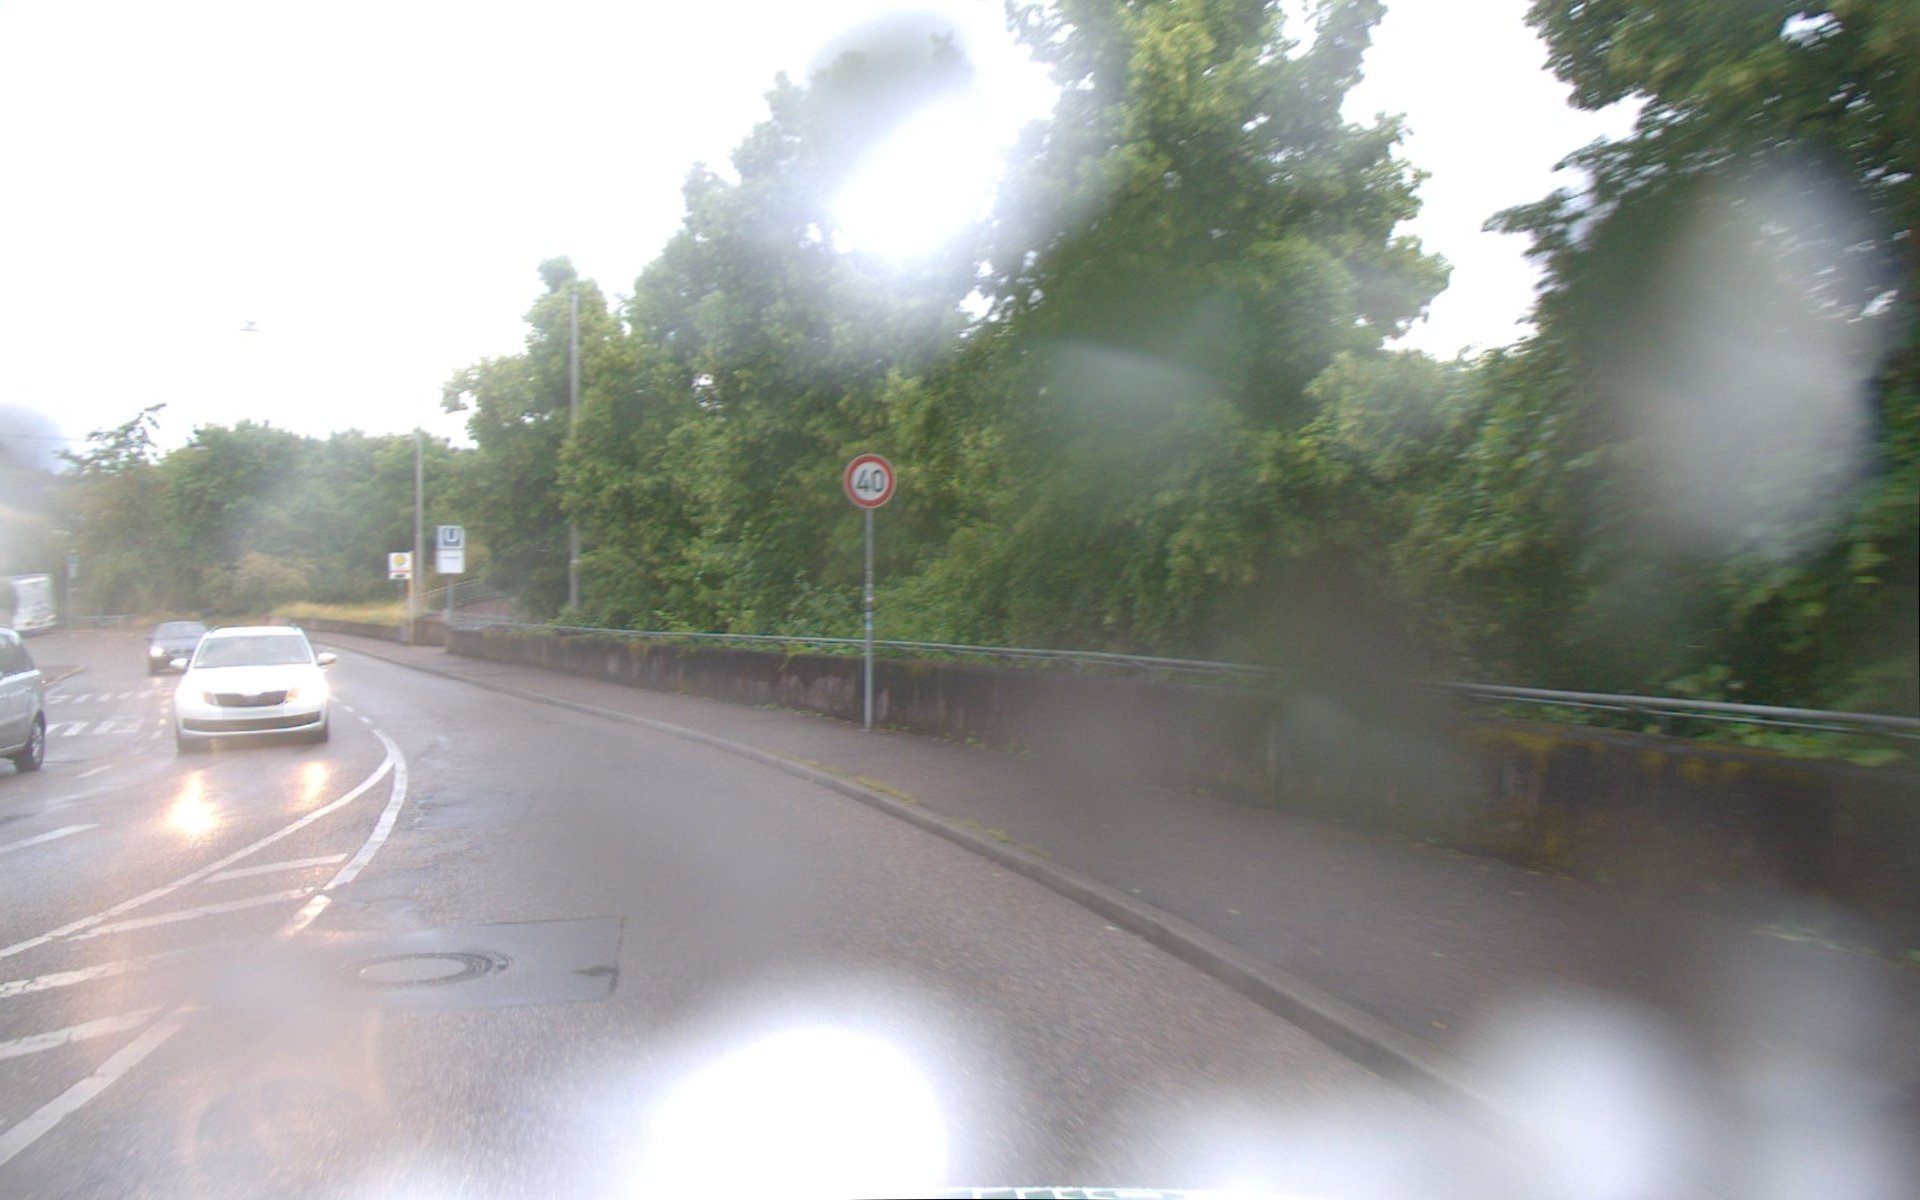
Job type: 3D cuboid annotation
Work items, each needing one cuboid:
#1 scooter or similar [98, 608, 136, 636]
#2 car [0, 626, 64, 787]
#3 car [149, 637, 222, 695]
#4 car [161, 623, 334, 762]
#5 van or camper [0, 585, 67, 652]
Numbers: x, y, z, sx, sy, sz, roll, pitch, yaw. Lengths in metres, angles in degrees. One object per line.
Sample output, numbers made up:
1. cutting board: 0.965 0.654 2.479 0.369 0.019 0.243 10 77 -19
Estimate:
1. scooter or similar: -43.174 1.109 84.729 1.668 1.304 0.452 -4 3 7
2. car: -10.595 1.095 16.847 1.684 1.613 4.439 -1 -1 -17
3. car: -22.630 1.893 48.468 1.714 1.476 4.581 -3 0 -23
4. car: -9.264 1.135 21.780 1.822 1.499 4.412 -4 0 -21
5. van or camper: -48.480 1.006 82.800 6.128 2.993 2.401 -3 5 6
